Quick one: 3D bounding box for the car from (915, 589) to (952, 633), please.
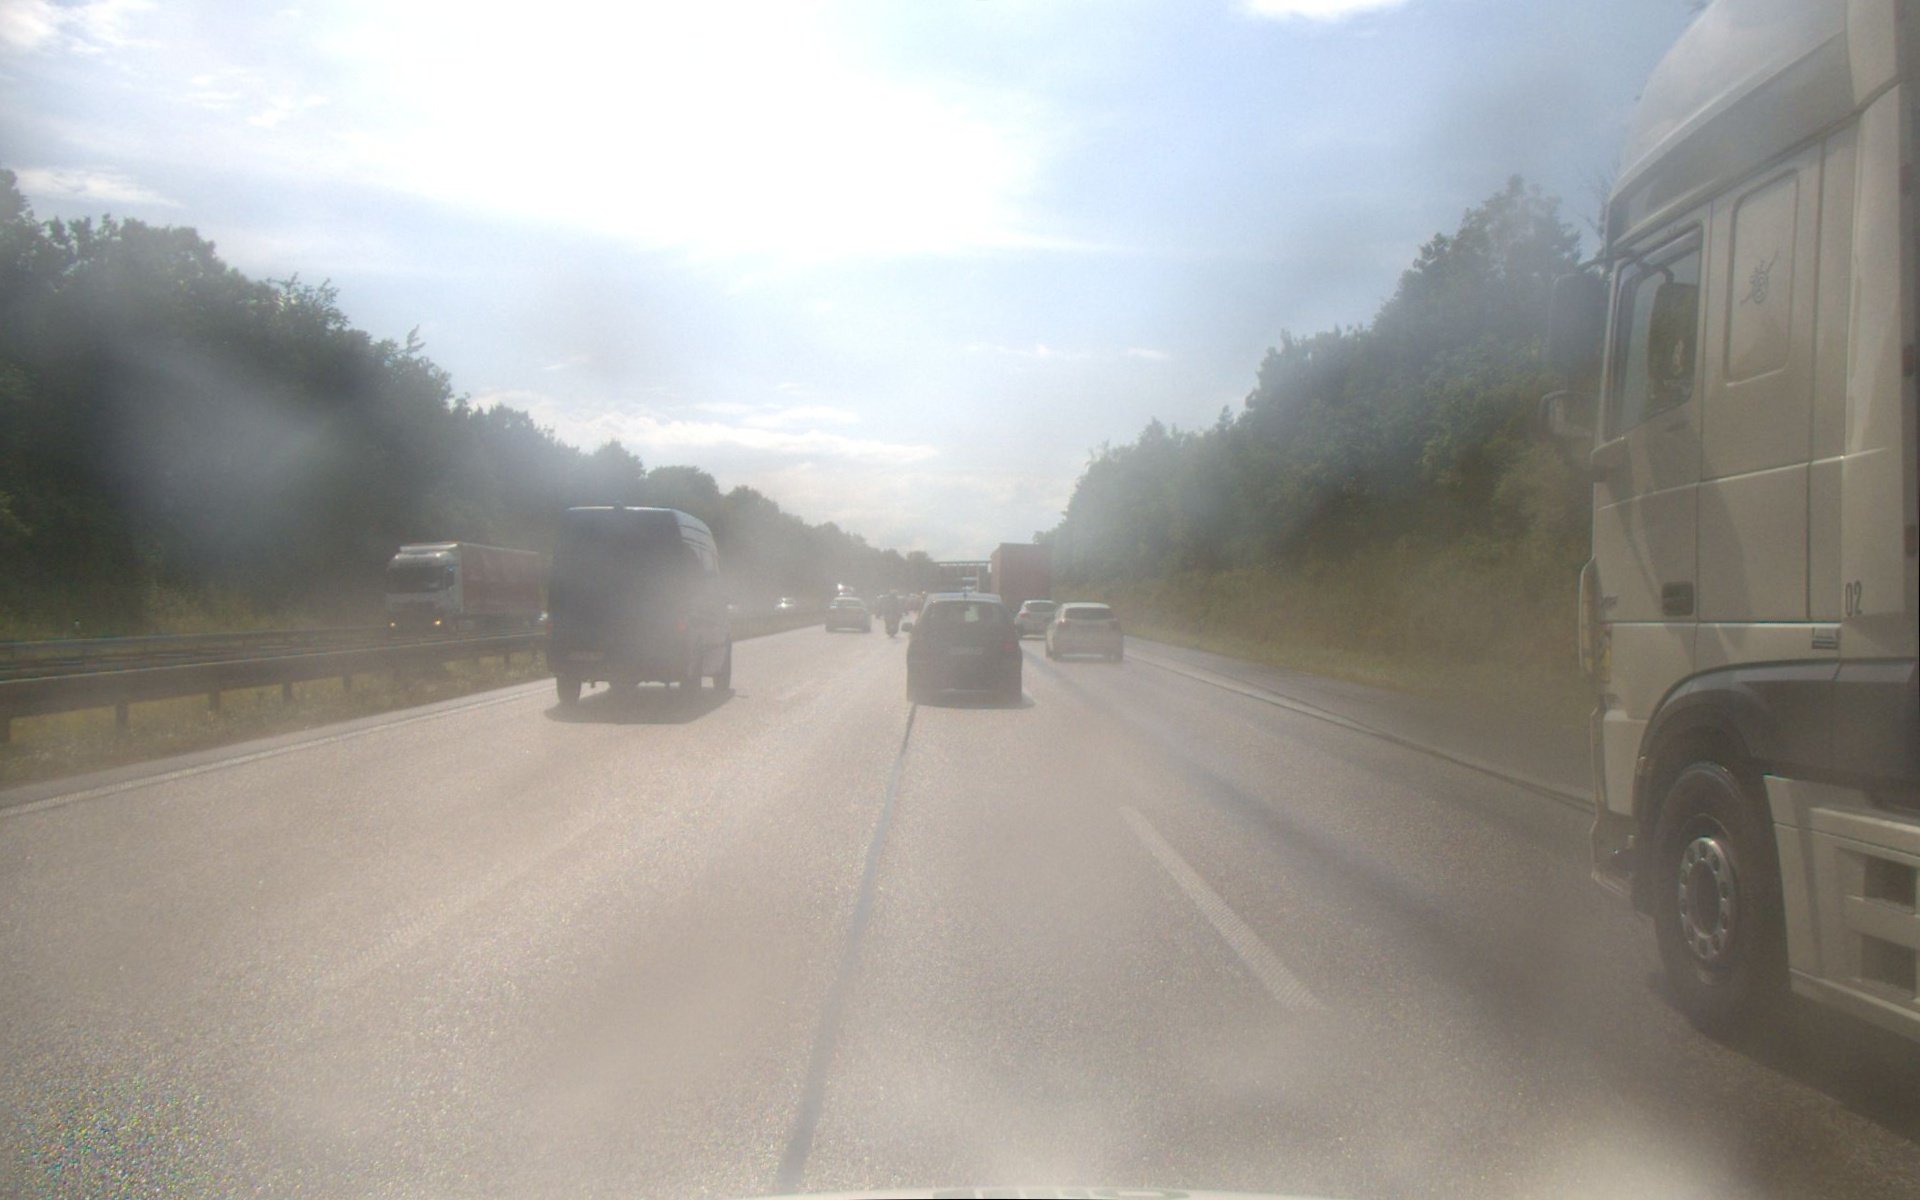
[{"bbox_3d":[-1.144,0.462,70.666,1.500,1.777,3.484,1,0,-1],"label":"car"}]

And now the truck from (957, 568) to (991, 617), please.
[{"bbox_3d":[1.439,-0.703,163.871,3.189,4.558,12.421,1,0,1],"label":"truck"}]

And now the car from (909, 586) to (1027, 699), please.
[{"bbox_3d":[0.087,0.617,25.515,1.683,1.595,3.484,1,0,-1],"label":"car"}]

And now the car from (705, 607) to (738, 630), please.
[{"bbox_3d":[-18.806,1.438,130.312,1.975,1.692,4.697,1,0,-1],"label":"car"}]

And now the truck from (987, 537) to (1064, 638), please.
[{"bbox_3d":[3.322,-0.582,88.345,3.575,4.803,16.779,1,0,1],"label":"truck"}]

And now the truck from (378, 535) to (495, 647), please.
[{"bbox_3d":[-21.998,-0.353,69.861,2.805,4.449,6.866,1,0,-1],"label":"truck"}]

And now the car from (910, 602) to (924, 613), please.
[{"bbox_3d":[-5.063,0.861,194.942,1.518,1.289,3.483,1,0,-1],"label":"car"}]

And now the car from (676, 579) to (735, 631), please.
[{"bbox_3d":[-12.649,0.258,82.467,2.139,2.495,5.746,1,0,-1],"label":"car"}]

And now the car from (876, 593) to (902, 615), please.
[{"bbox_3d":[-5.062,0.279,118.311,1.716,1.482,3.389,1,0,-1],"label":"car"}]

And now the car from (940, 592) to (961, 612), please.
[{"bbox_3d":[-0.692,0.120,120.637,1.521,1.407,3.209,1,0,-1],"label":"car"}]

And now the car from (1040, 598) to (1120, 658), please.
[{"bbox_3d":[3.039,0.684,42.482,1.658,1.450,4.219,1,0,-1],"label":"car"}]

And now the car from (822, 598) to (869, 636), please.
[{"bbox_3d":[-4.970,0.738,72.139,1.817,1.578,3.484,1,0,-1],"label":"car"}]

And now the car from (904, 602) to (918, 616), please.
[{"bbox_3d":[-5.081,0.906,171.796,1.455,1.414,3.197,1,0,-1],"label":"car"}]

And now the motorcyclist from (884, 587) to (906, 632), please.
[{"bbox_3d":[-2.452,0.352,62.654,0.785,1.662,1.013,1,0,-1],"label":"motorcyclist"}]

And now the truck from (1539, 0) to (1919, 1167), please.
[{"bbox_3d":[3.895,-0.490,3.700,2.554,4.065,7.289,1,0,-1],"label":"truck"}]

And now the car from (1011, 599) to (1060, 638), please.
[{"bbox_3d":[2.893,0.698,64.114,1.646,1.467,3.904,1,0,-1],"label":"car"}]

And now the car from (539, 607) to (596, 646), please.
[{"bbox_3d":[-17.867,1.201,75.455,1.665,1.692,4.235,1,0,-1],"label":"car"}]

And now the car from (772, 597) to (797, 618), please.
[{"bbox_3d":[-14.488,0.588,136.949,1.696,1.692,4.235,1,0,-1],"label":"car"}]

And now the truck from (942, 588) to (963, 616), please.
[{"bbox_3d":[-0.812,0.190,178.044,2.147,2.926,4.848,1,0,-1],"label":"truck"}]

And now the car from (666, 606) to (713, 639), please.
[{"bbox_3d":[-14.437,1.175,88.420,1.800,1.692,4.440,1,0,-1],"label":"car"}]

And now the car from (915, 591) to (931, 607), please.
[{"bbox_3d":[-4.818,-0.109,216.228,1.953,2.049,3.999,0,0,-1],"label":"car"}]

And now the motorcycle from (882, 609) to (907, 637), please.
[{"bbox_3d":[-2.475,0.862,62.695,0.872,1.018,2.895,1,0,-1],"label":"motorcycle"}]

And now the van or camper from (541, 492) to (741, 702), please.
[{"bbox_3d":[-4.527,-0.034,24.354,1.953,2.715,5.383,1,0,-1],"label":"van or camper"}]

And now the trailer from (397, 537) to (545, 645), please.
[{"bbox_3d":[-22.120,-0.339,75.886,2.805,4.449,14.089,1,0,-1],"label":"trailer"}]
